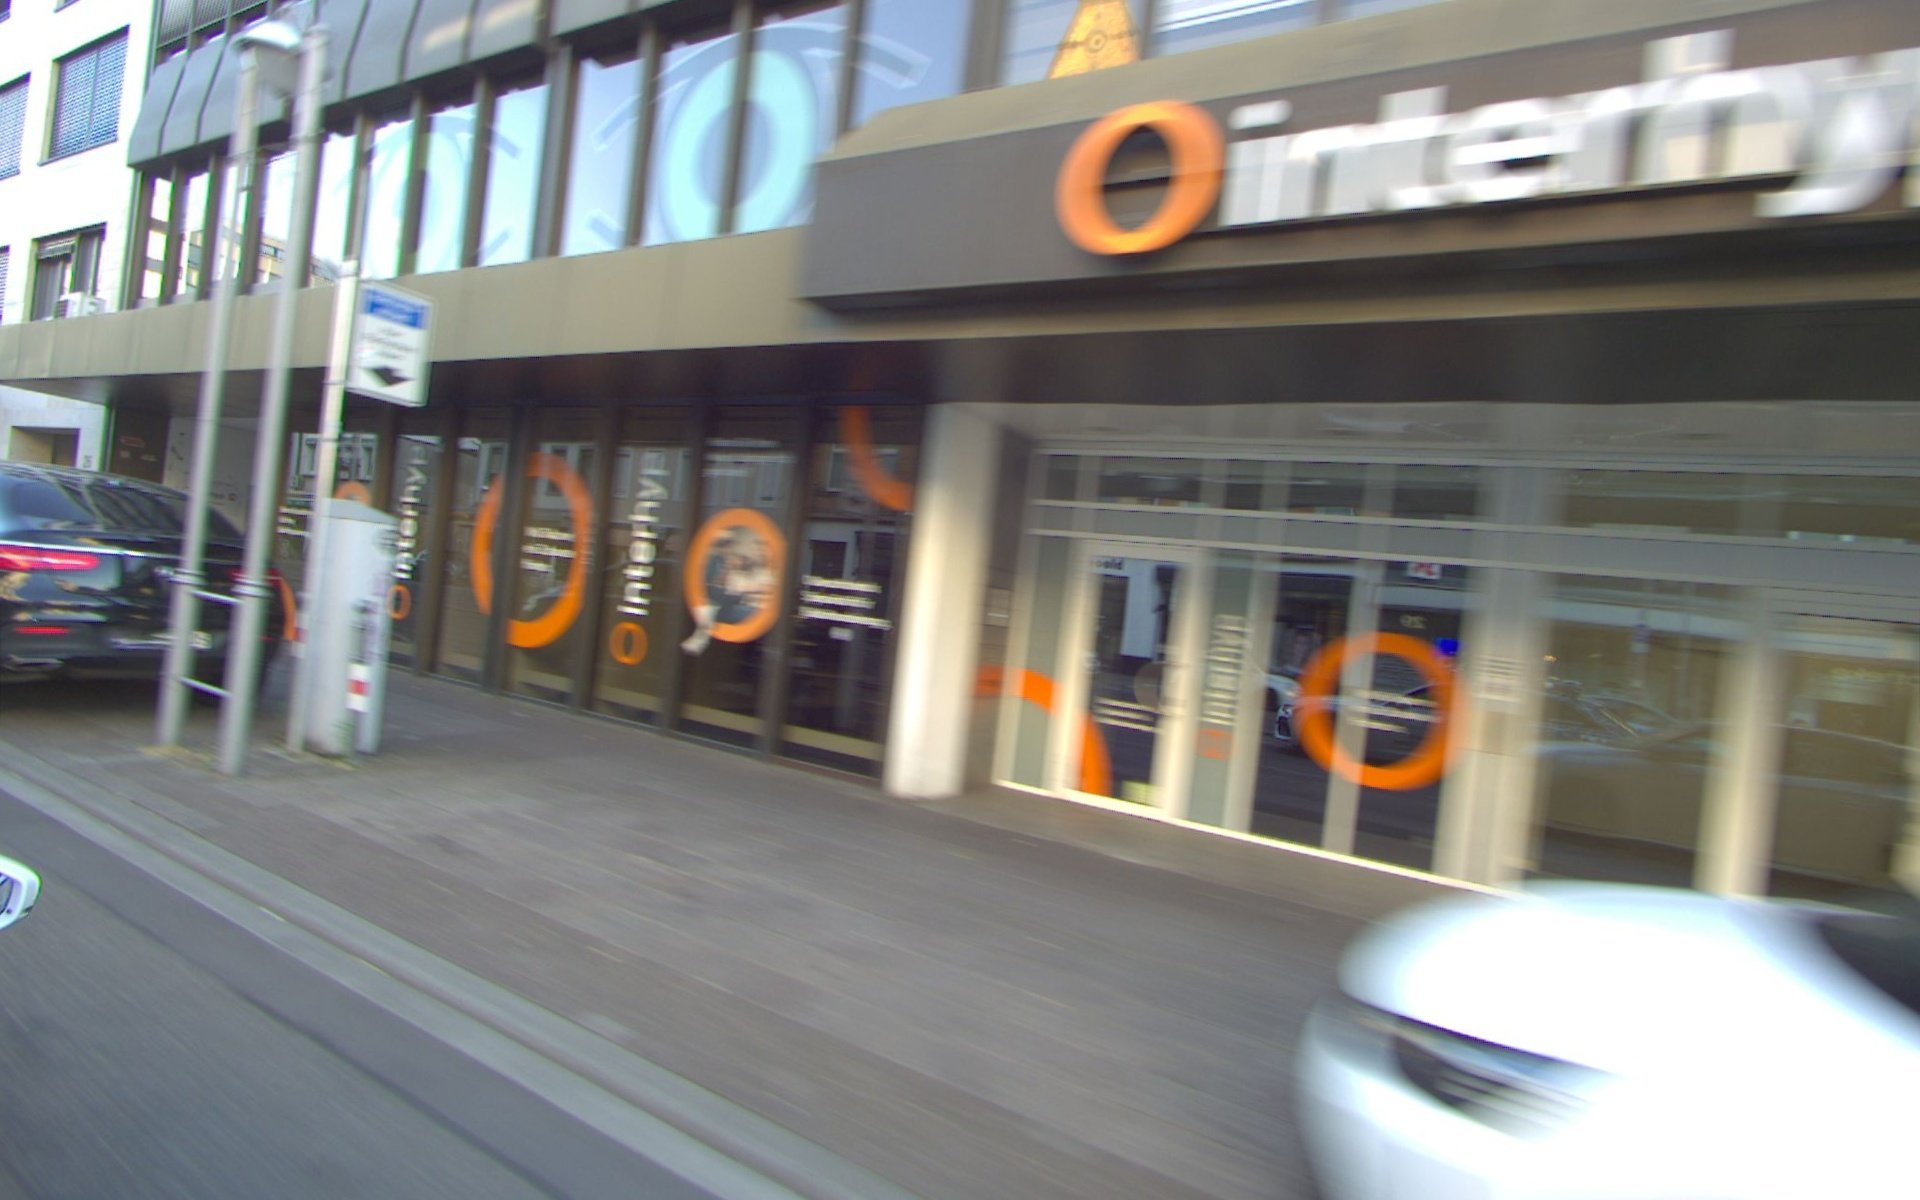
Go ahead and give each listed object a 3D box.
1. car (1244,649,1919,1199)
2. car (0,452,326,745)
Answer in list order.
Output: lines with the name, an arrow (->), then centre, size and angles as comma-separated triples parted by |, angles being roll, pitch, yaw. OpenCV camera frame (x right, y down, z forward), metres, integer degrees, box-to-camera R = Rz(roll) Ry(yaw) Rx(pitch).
car -> 2.696, 1.070, 1.860 | 3.808, 1.505, 1.767 | 7, 2, 31
car -> -7.258, -0.186, 7.927 | 4.594, 1.757, 1.984 | 7, 2, 32
